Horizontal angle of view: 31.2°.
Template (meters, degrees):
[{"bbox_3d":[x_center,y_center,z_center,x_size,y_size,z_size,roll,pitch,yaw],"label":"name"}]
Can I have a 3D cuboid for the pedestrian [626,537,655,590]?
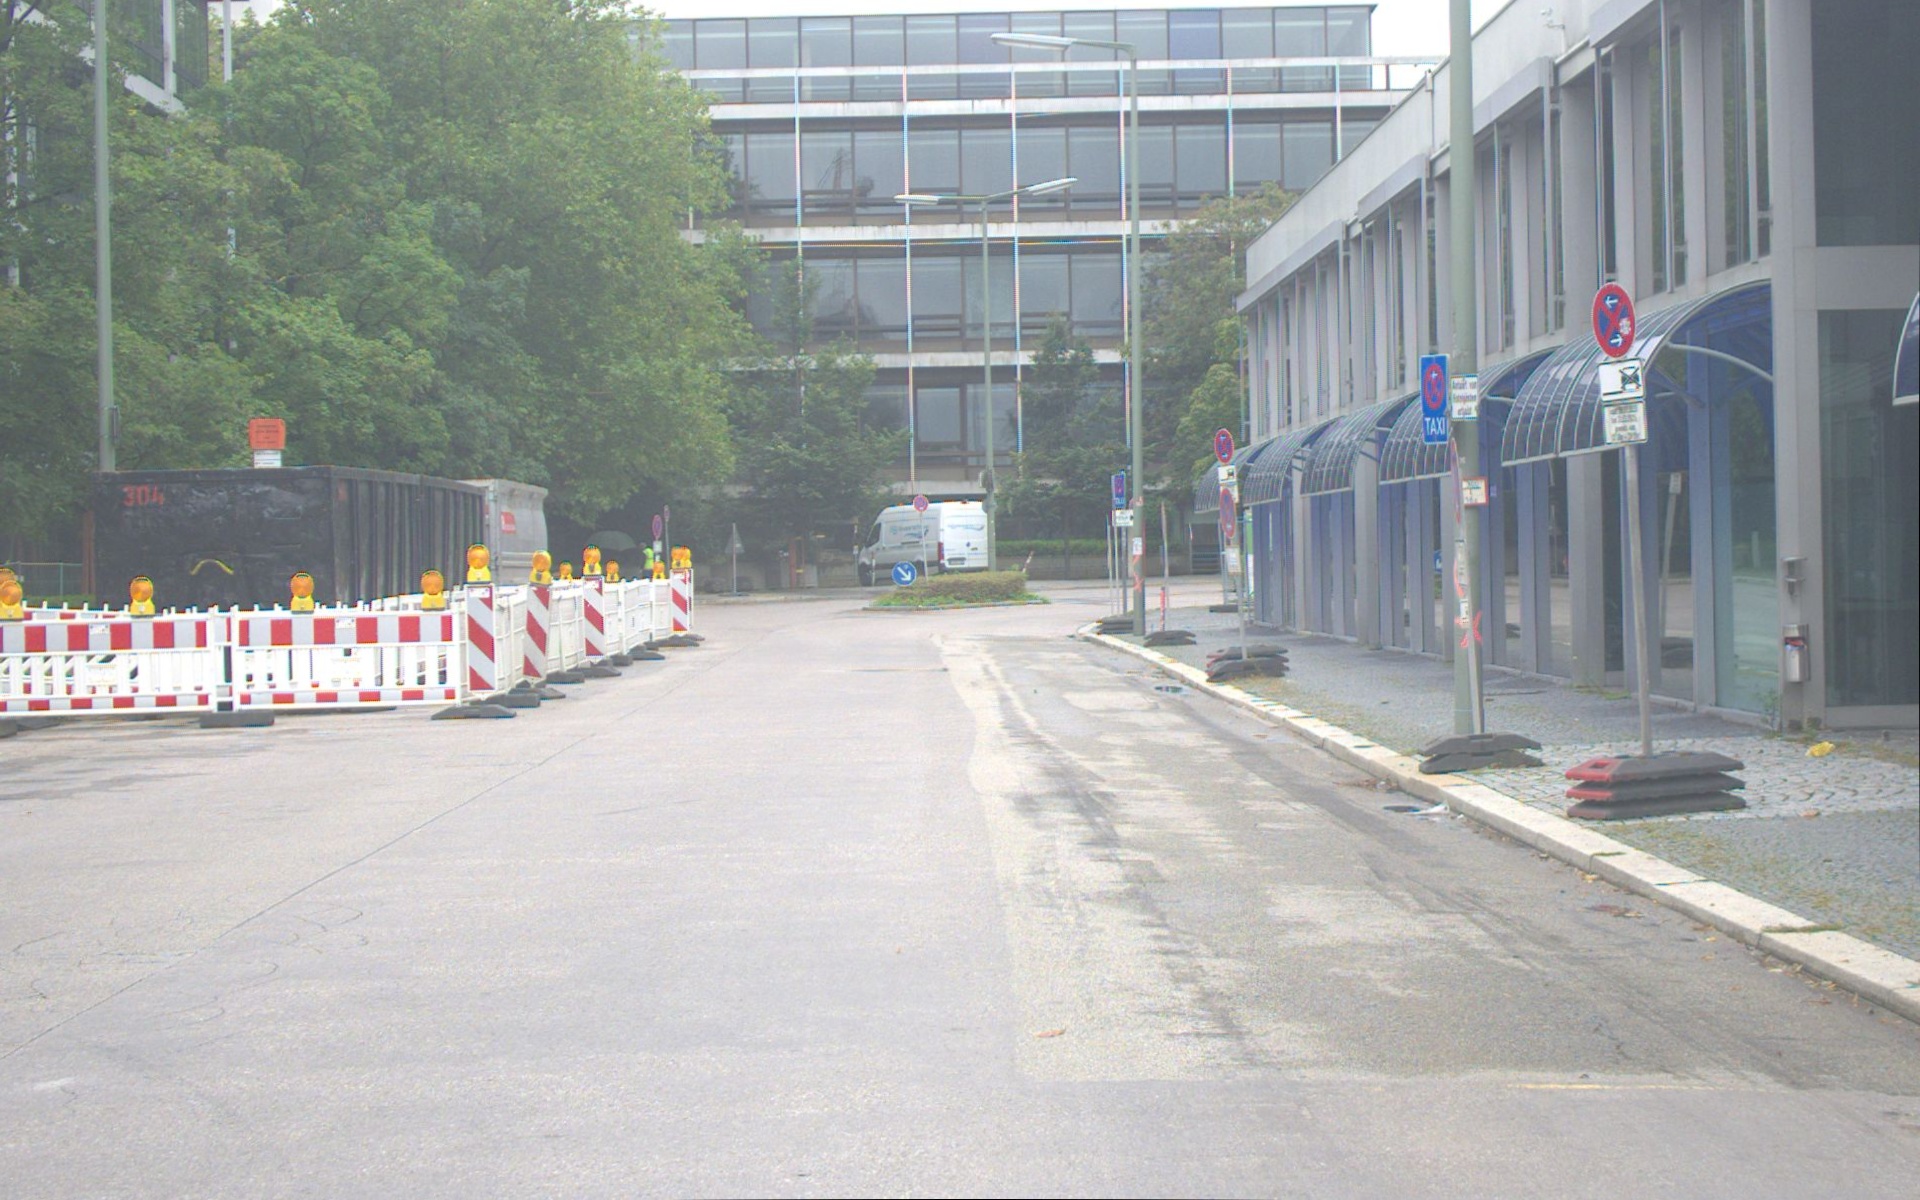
[{"bbox_3d":[-10.138,-1.157,109.104,0.741,1.671,0.682,-1,1,-20],"label":"pedestrian"}]

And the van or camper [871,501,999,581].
[{"bbox_3d":[-0.838,-1.889,110.552,2.085,2.483,5.068,-1,1,-26],"label":"van or camper"}]
